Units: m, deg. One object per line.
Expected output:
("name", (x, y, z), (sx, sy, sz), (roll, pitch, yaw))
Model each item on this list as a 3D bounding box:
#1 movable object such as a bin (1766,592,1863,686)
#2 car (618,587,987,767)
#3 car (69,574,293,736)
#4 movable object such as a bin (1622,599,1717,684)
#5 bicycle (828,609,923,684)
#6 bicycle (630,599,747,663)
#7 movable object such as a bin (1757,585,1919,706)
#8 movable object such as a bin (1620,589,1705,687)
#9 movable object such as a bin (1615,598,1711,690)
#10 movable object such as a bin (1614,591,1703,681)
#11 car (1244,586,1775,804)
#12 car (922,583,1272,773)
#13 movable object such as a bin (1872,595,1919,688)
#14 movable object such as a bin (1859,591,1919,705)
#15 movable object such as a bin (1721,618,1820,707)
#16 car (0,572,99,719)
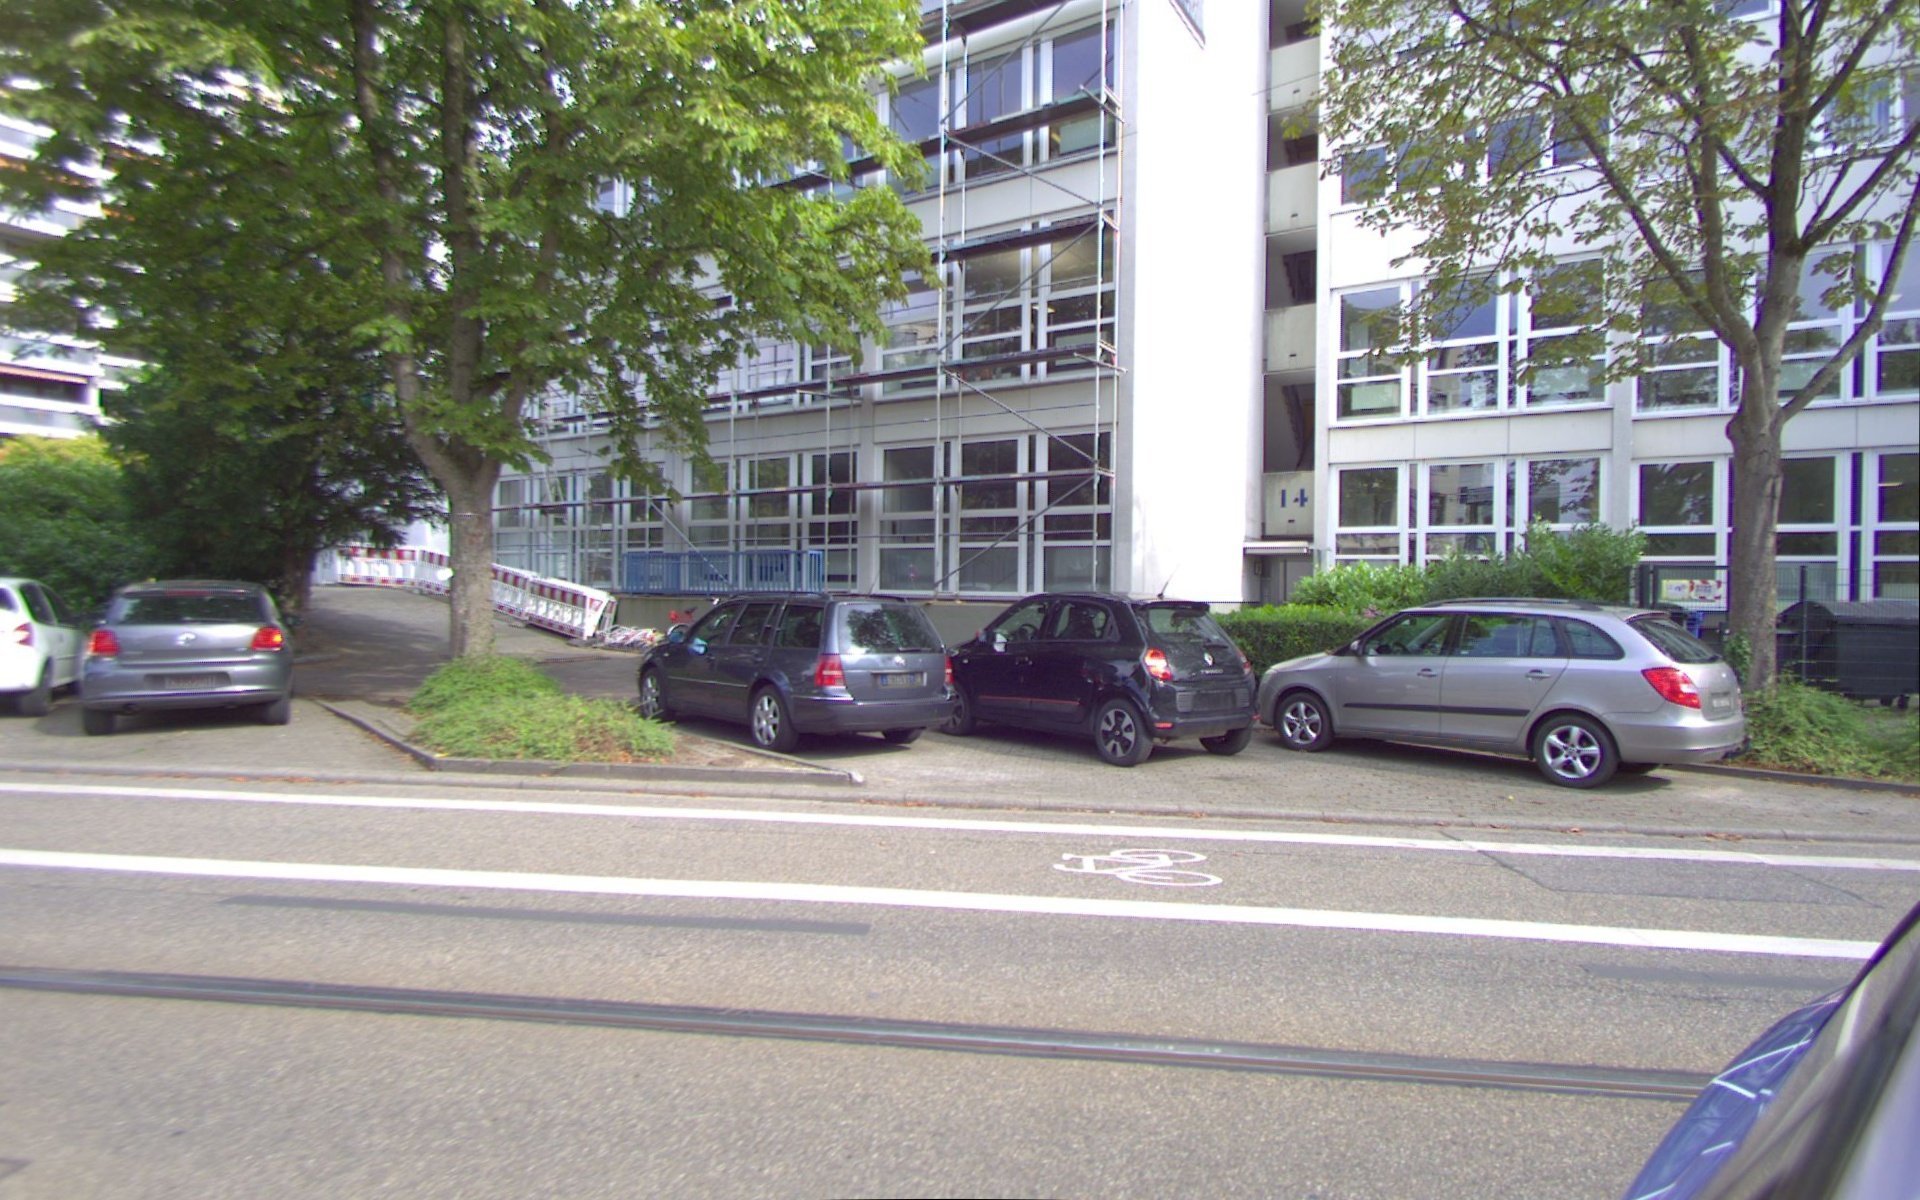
("movable object such as a bin", (15.138, 0.656, 17.979), (1.167, 1.588, 1.165), (1, 0, 34))
("car", (-1.789, 0.601, 10.370), (1.785, 1.433, 4.162), (0, 1, -42))
("car", (-8.245, 0.457, 10.990), (1.650, 1.437, 3.648), (0, 1, -33))
("movable object such as a bin", (12.259, 0.689, 17.541), (1.168, 1.387, 1.164), (1, 0, 27))
("bicycle", (-1.308, 0.699, 15.938), (0.450, 1.056, 1.818), (1, 2, 34))
("bicycle", (-4.711, 0.513, 17.658), (0.592, 1.056, 1.947), (1, 1, 42))
("movable object such as a bin", (12.075, 0.583, 13.796), (1.392, 1.549, 1.327), (1, 0, 9))
("movable object such as a bin", (10.670, 0.550, 15.412), (0.903, 1.424, 1.015), (1, 0, 27))
("movable object such as a bin", (11.421, 0.687, 16.493), (1.107, 1.409, 1.053), (1, 0, 27))
("movable object such as a bin", (12.891, 0.633, 18.734), (1.168, 1.588, 1.164), (1, 0, 27))
("car", (4.833, 0.668, 9.402), (1.567, 1.557, 4.047), (1, 0, -40))
("car", (1.239, 0.634, 10.275), (1.566, 1.557, 3.416), (1, 1, -37))
("movable object such as a bin", (16.257, 0.687, 17.036), (1.167, 1.533, 1.165), (1, 0, 34))
("movable object such as a bin", (13.497, 0.645, 13.786), (1.316, 1.523, 1.332), (1, 0, 9))
("movable object such as a bin", (10.887, 0.827, 13.621), (0.731, 1.119, 0.784), (1, 0, 11))
("car", (-11.170, 0.428, 11.509), (1.650, 1.493, 3.648), (0, 1, -33))
